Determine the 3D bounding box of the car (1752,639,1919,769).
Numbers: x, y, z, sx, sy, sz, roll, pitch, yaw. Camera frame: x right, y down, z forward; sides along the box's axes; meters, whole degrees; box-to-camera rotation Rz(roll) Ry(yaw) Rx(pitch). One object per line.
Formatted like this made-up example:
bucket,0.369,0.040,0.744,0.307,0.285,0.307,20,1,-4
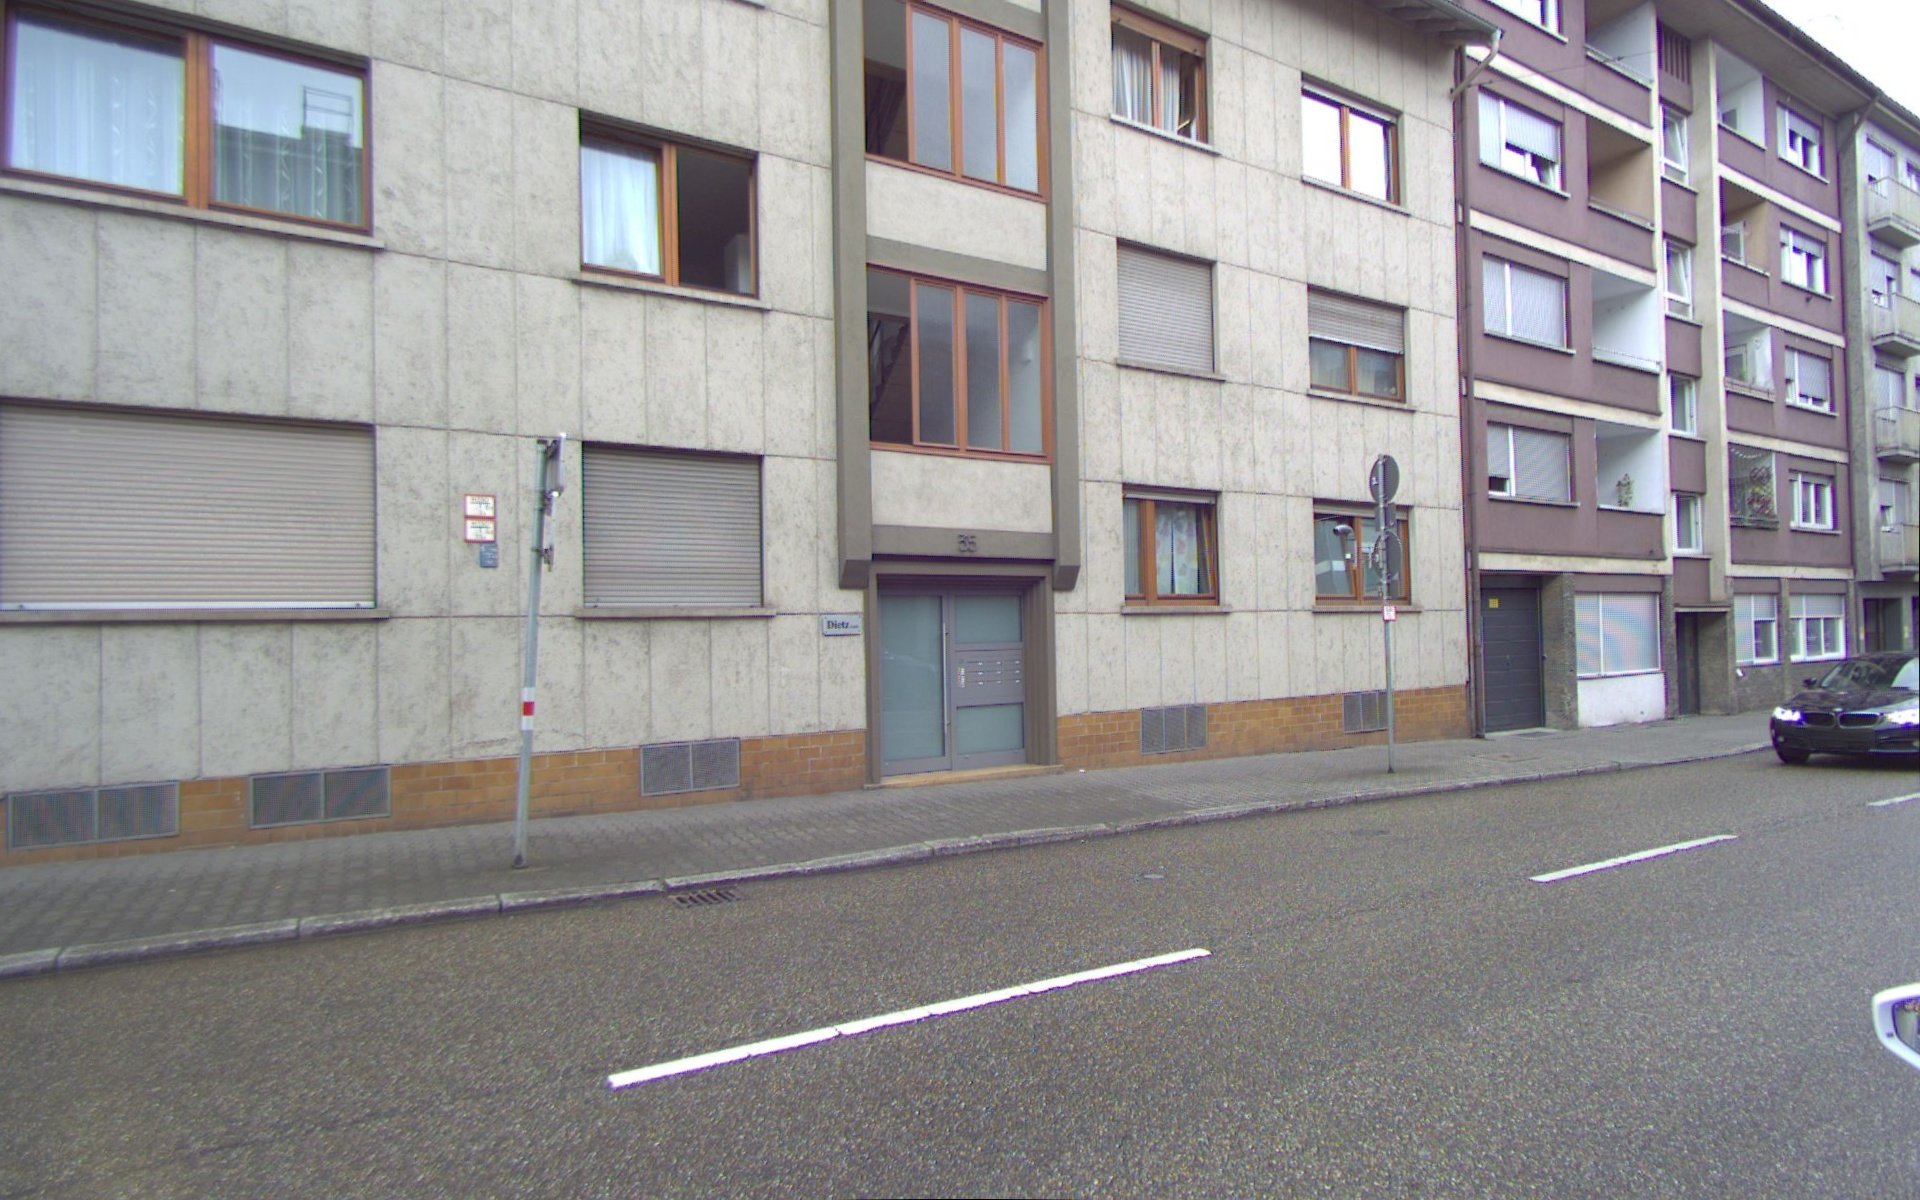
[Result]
car,13.037,1.396,13.908,4.384,1.558,1.688,2,-7,-30
